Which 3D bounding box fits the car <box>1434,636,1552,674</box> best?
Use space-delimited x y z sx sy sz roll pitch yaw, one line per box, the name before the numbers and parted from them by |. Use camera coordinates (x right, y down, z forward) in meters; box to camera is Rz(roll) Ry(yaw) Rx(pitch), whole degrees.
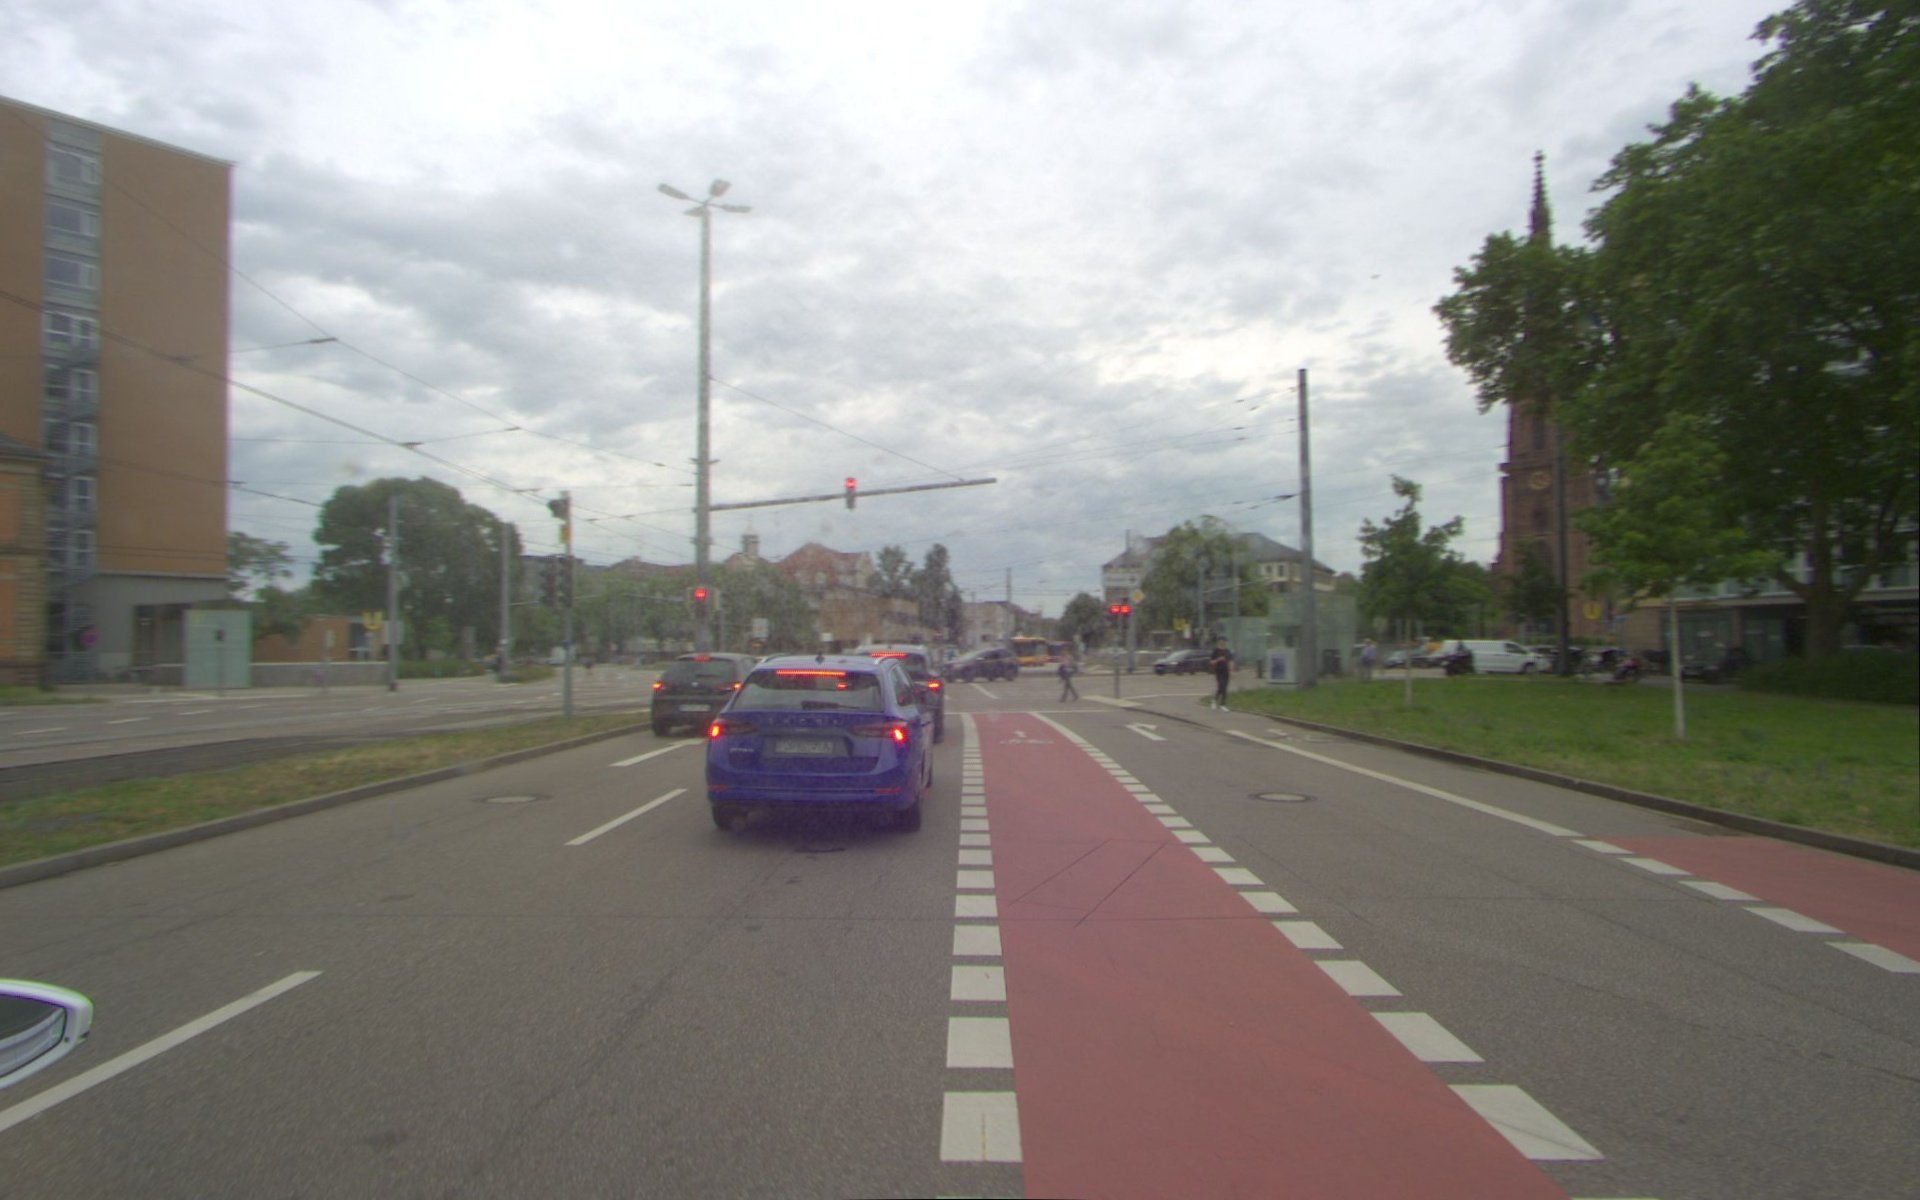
car | 30.532 3.186 57.596 5.635 2.037 2.027 -2 -4 17

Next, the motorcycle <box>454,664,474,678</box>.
motorcycle | -41.717 5.996 84.231 0.502 1.125 1.745 -1 -3 12

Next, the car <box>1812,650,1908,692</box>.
car | 34.145 2.669 37.948 4.422 1.508 1.848 2 -4 -37

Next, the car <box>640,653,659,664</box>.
car | -46.116 8.673 148.599 1.757 1.482 3.980 2 -3 -30

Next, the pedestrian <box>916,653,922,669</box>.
pedestrian | -4.867 7.295 119.362 0.611 1.942 0.711 0 -2 3

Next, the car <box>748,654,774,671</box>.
car | -20.951 6.553 105.203 1.967 1.704 3.993 1 -5 -22

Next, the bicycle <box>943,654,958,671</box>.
bicycle | -0.644 4.249 67.889 0.851 1.118 2.303 0 -3 -5

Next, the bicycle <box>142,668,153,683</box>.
bicycle | -56.253 5.215 69.347 0.477 1.062 1.415 2 -4 -43

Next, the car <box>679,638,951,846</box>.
car | -1.089 1.184 9.561 1.750 1.506 4.470 -1 -4 3

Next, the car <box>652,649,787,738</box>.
car | -4.319 1.658 18.514 1.676 1.466 3.815 0 -3 -2

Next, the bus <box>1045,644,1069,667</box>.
bus | 14.607 8.320 150.799 2.612 3.323 10.998 -1 -3 10

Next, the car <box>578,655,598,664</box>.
car | -63.681 10.219 171.562 1.765 1.482 3.962 3 -4 -44

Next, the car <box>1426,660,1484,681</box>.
car | 39.166 5.563 79.158 4.409 1.566 1.855 2 -5 -28

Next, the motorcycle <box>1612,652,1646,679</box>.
motorcycle | 25.849 2.514 38.685 0.859 1.010 1.013 -1 -3 20

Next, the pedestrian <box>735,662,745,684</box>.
pedestrian | -15.633 5.185 71.202 0.716 1.561 0.417 0 -2 -13

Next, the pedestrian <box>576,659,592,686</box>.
pedestrian | -26.982 5.191 71.797 1.015 1.958 0.698 1 -2 -26

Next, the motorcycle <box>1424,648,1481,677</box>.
motorcycle | 20.932 2.652 42.537 2.347 1.183 0.765 1 -3 -22

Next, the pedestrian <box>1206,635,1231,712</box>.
pedestrian | 6.436 1.827 24.949 0.527 1.867 0.987 -1 -2 11

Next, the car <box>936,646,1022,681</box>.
car | 0.985 3.200 50.521 4.184 1.660 1.789 3 -4 -40

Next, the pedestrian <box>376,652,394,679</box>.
pedestrian | -42.565 4.837 74.119 1.007 2.038 0.845 1 -3 -20

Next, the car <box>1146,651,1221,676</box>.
car | 13.120 3.709 58.712 4.333 1.413 1.690 2 -3 -32

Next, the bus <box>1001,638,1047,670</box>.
bus | 7.004 5.831 107.563 2.915 3.161 11.537 -1 -3 14

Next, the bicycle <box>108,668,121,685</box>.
bicycle | -57.496 5.177 68.073 0.567 1.119 1.415 2 -4 -43

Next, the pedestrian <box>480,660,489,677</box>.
pedestrian | -55.112 7.940 116.085 0.866 2.005 0.795 1 -4 -19

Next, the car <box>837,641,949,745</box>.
car | -1.092 1.584 17.887 1.748 1.616 4.513 0 -3 -1

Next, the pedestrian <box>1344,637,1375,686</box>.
pedestrian | 16.214 2.512 40.659 0.880 1.954 1.009 -2 -3 41

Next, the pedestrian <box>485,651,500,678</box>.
pedestrian | -35.600 4.901 76.288 0.916 2.038 1.010 1 -4 -21

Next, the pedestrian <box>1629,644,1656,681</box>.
pedestrian | 30.529 2.793 44.773 0.699 1.658 0.726 0 -2 6

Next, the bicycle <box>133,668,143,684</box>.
bicycle | -56.633 5.210 68.983 0.477 1.062 1.415 2 -4 -43

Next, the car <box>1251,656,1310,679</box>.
car | 22.292 4.694 69.559 3.946 1.481 1.767 2 -5 -32

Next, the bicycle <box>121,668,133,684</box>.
bicycle | -57.020 5.206 68.532 0.505 1.062 1.415 2 -4 -43

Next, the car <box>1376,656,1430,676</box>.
car | 33.990 5.075 76.781 3.943 1.481 1.768 2 -5 -30

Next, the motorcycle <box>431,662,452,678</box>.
motorcycle | -42.639 5.778 82.302 0.506 1.283 1.460 -2 -4 43

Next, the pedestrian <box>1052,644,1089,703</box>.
pedestrian | 3.690 2.446 33.395 1.094 1.930 0.729 3 -4 -43

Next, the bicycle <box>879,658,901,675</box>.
bicycle | -4.995 4.683 71.058 0.880 1.193 2.297 1 -3 -22

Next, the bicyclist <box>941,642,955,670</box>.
bicyclist | -0.806 3.822 68.290 0.857 1.874 1.048 0 -2 -6

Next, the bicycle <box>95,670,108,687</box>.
bicycle | -57.954 5.280 67.578 0.567 1.119 1.415 2 -4 -43

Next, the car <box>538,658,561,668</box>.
car | -64.314 9.867 156.890 3.956 1.482 1.768 -3 -4 41

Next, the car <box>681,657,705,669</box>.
car | -34.240 8.083 128.469 1.758 1.482 3.977 2 -3 -33

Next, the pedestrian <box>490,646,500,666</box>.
pedestrian | -47.872 5.796 103.053 0.786 2.005 0.876 2 -4 -35

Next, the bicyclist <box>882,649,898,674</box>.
bicyclist | -4.971 4.377 70.981 0.871 1.753 0.892 1 -3 -22

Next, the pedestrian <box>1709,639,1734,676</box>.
pedestrian | 34.216 2.592 44.995 0.776 1.658 0.634 2 -3 -34

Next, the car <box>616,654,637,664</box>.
car | -52.069 9.239 156.189 1.763 1.482 3.967 2 -3 -40

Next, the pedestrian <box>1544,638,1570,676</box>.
pedestrian | 26.121 2.483 43.825 0.861 1.658 0.634 2 -3 -34

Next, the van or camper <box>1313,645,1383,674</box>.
van or camper | 28.576 4.421 73.733 5.087 2.037 2.184 2 -5 -32

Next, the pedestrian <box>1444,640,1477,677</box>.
pedestrian | 25.166 2.940 50.342 0.934 1.819 1.082 2 -4 -32

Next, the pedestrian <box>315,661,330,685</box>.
pedestrian | -36.650 4.213 57.578 0.493 1.352 0.570 -2 -3 39

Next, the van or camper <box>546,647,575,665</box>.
van or camper | -68.629 9.646 172.091 5.442 3.162 2.377 -3 -4 41

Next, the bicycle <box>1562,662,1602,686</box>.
bicycle | 25.493 3.031 41.085 0.586 0.928 1.259 2 -3 -30
